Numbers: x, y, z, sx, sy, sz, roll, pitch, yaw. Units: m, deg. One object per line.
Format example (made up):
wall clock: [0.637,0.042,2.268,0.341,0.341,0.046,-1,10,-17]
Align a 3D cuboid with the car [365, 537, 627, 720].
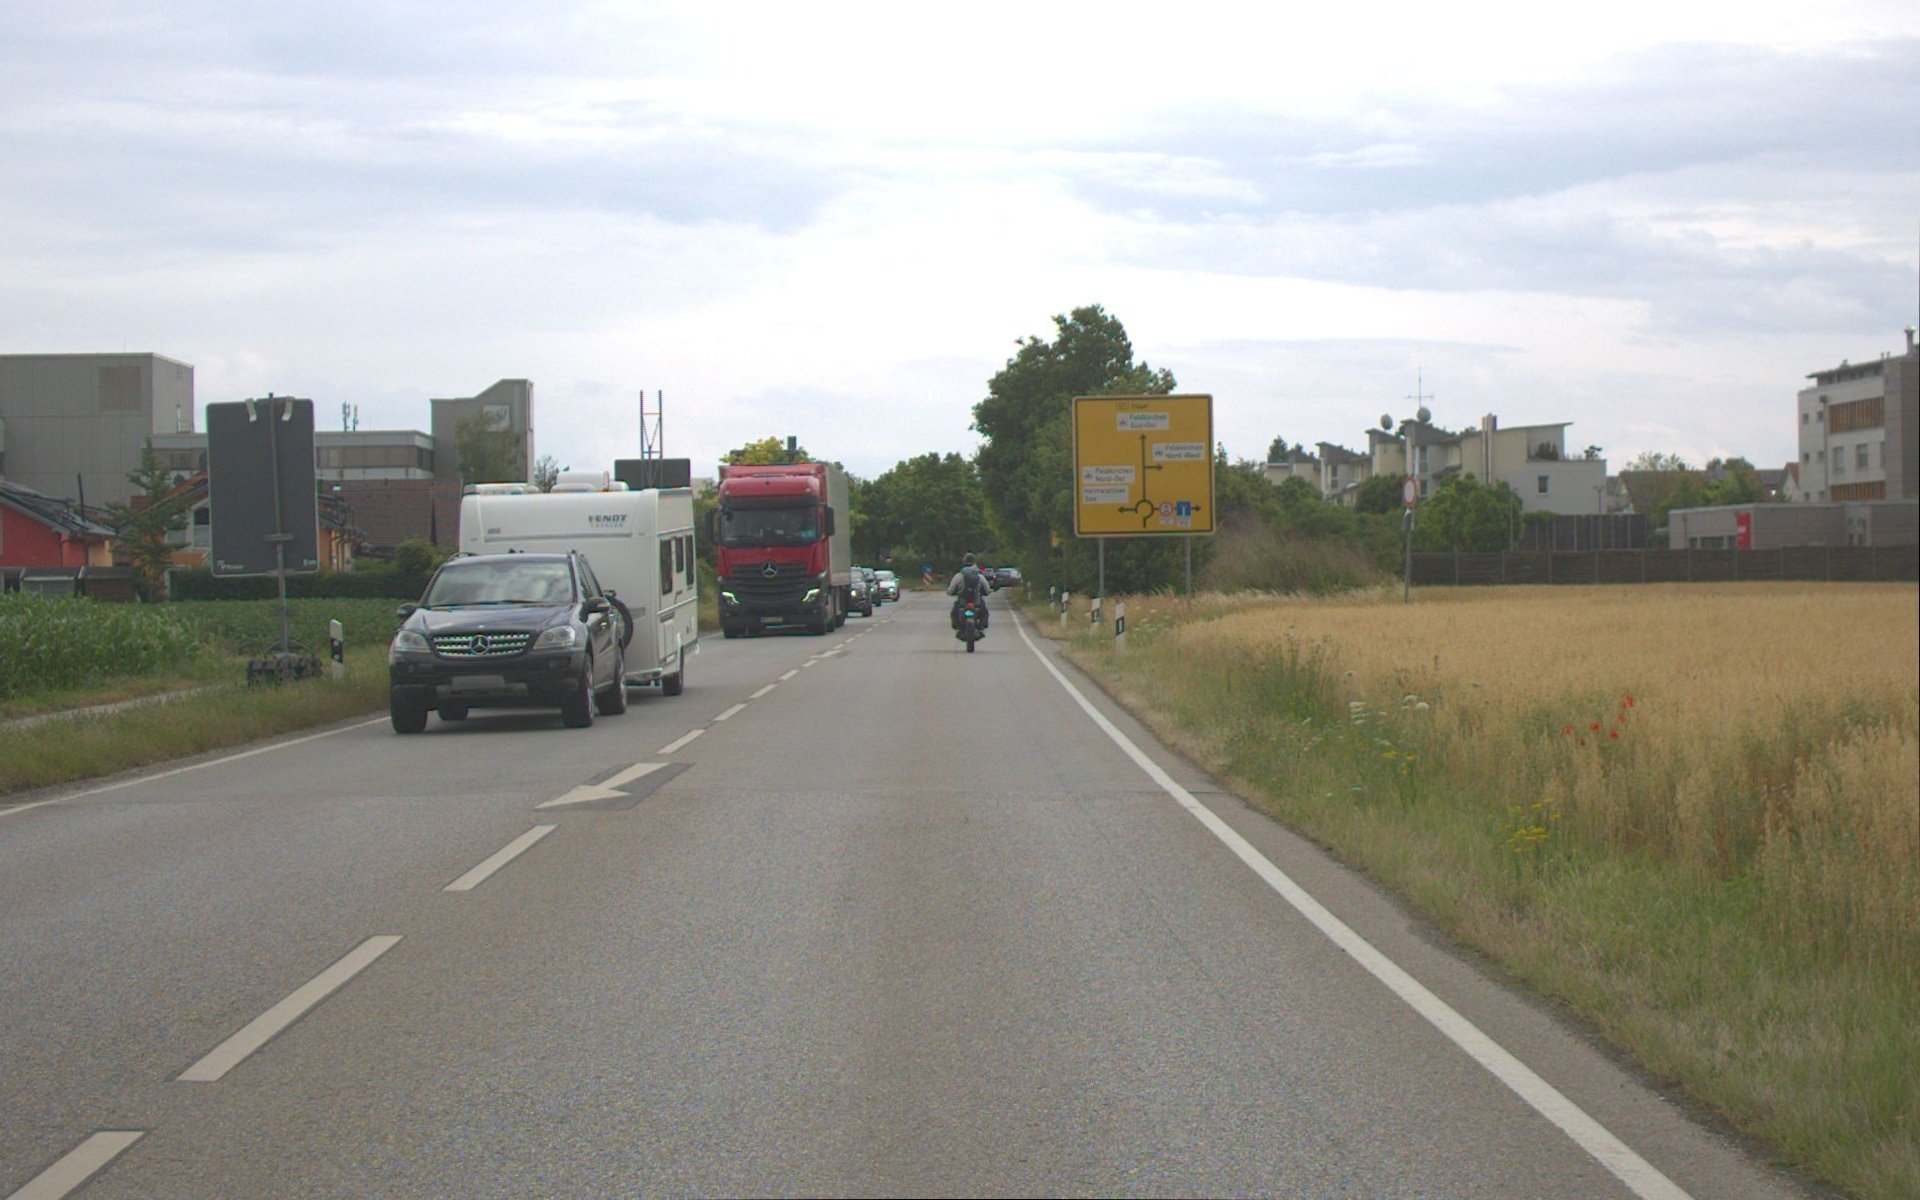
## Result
car: [-4.581,0.259,34.610,1.993,1.693,4.675,-1,0,0]

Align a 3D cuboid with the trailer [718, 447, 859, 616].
trailer: [-4.242,-1.636,87.934,2.729,3.932,13.781,-1,0,1]

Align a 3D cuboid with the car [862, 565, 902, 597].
car: [-3.692,-0.869,161.937,1.855,1.467,4.000,-1,0,-1]

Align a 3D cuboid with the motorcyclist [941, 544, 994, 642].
motorcyclist: [0.132,-0.133,62.255,0.941,1.744,1.200,-1,0,0]

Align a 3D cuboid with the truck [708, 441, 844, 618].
truck: [-4.303,-1.614,81.622,2.729,3.974,6.816,-1,0,1]

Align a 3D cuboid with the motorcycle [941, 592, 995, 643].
motorcycle: [0.140,0.309,62.178,0.941,0.887,2.146,-1,0,0]

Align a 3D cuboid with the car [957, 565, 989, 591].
car: [0.765,-1.306,203.703,1.855,1.467,4.000,-1,0,0]

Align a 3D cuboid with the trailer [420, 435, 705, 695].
trailer: [-4.498,-0.391,40.327,2.324,2.720,7.843,-1,0,1]
